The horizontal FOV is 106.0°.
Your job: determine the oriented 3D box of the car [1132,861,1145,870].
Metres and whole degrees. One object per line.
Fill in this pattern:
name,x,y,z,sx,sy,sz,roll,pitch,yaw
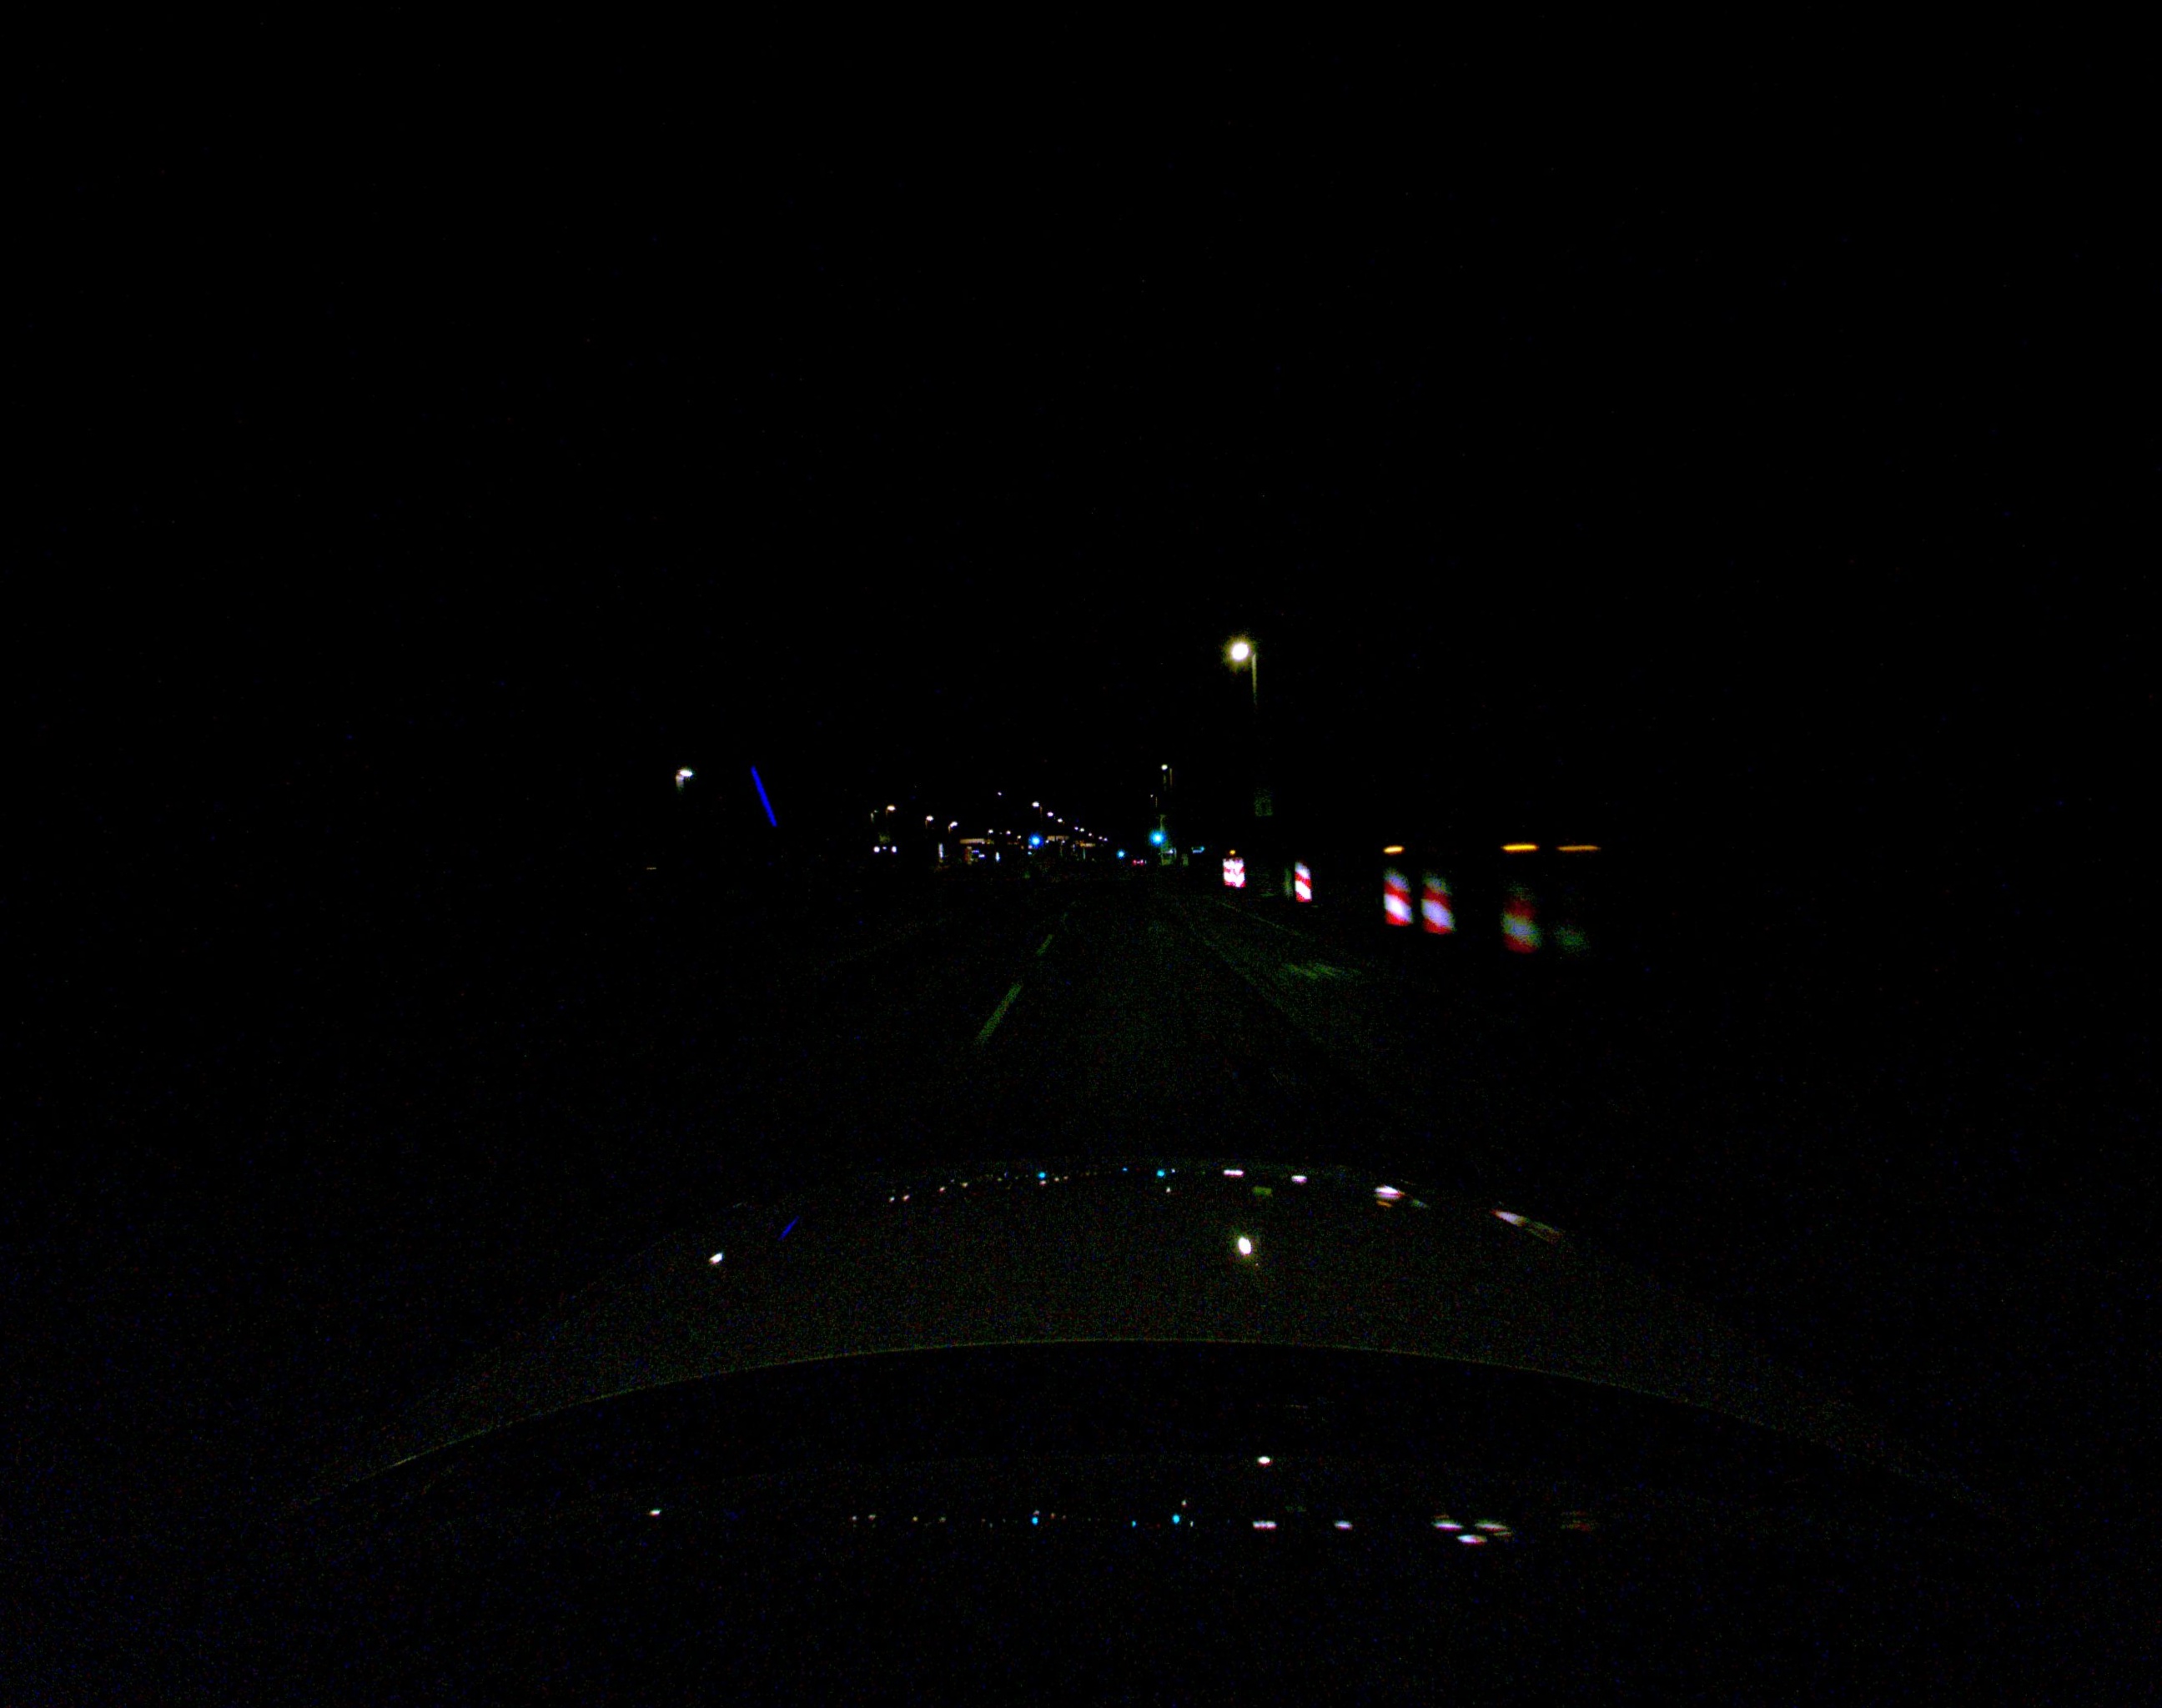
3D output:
car,10.812,2.125,153.403,2.150,1.583,4.020,0,-1,7

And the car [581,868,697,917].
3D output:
car,-15.724,1.310,29.244,1.859,1.505,4.094,-2,0,0
